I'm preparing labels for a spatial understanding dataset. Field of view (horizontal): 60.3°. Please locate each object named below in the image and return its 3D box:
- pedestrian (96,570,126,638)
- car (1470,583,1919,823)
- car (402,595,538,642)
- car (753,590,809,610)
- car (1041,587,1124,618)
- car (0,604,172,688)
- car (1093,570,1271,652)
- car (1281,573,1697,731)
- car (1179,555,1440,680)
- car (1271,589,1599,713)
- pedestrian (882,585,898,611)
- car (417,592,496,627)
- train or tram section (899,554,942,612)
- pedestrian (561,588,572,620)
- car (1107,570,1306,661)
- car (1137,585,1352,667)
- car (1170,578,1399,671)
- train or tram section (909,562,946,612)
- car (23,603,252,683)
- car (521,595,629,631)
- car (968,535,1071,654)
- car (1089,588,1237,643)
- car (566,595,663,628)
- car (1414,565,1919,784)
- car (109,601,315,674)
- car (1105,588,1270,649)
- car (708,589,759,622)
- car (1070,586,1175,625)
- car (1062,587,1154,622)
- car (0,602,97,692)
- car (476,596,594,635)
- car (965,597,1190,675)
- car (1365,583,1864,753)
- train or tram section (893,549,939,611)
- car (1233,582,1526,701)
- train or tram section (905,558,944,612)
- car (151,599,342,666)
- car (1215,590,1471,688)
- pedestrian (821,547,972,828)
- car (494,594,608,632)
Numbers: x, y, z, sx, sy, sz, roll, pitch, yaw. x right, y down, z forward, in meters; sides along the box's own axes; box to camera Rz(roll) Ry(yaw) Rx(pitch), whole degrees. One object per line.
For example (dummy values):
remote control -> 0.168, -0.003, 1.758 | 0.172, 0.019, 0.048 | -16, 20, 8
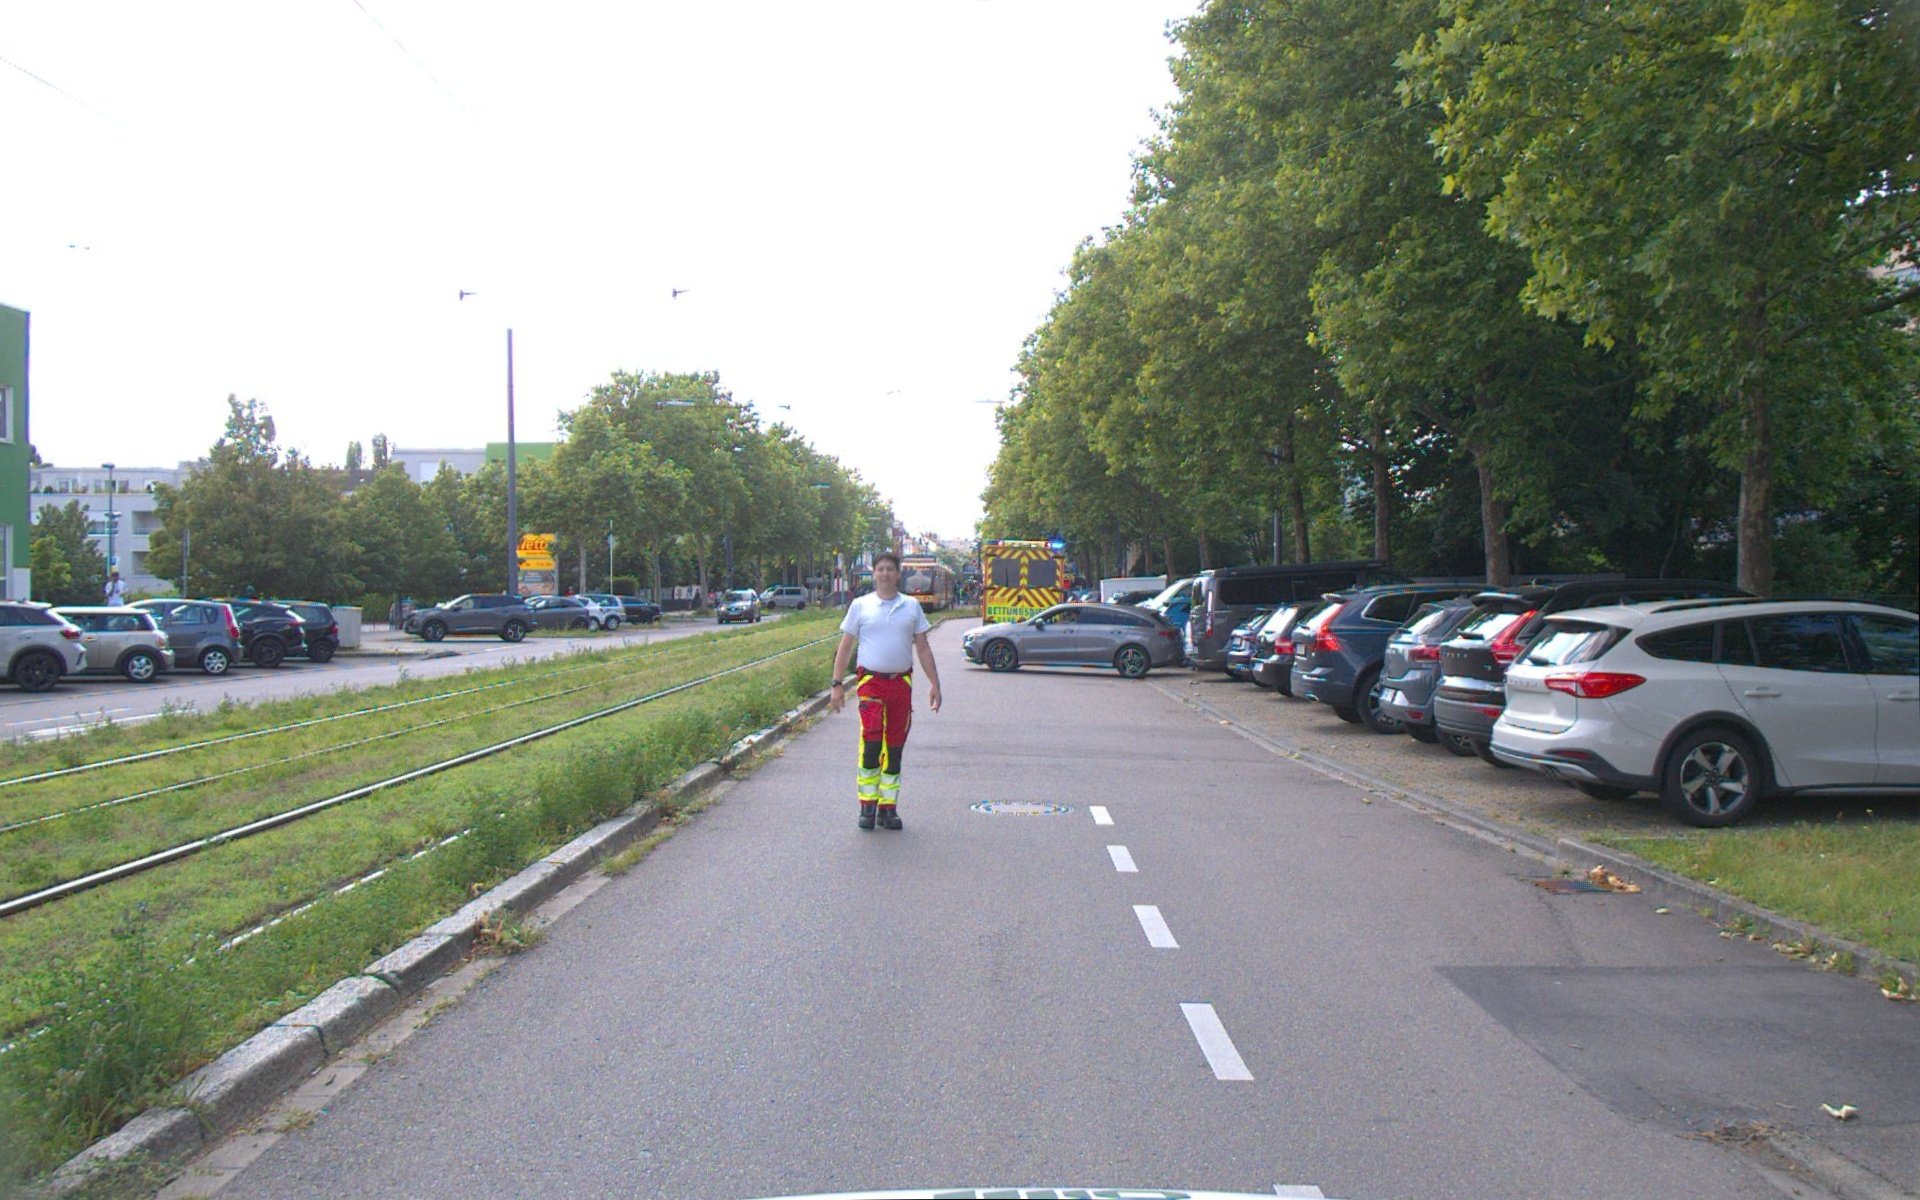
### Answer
pedestrian -> -23.443, 0.114, 45.681 | 0.535, 1.860, 0.509 | 0, 0, -1
car -> 6.238, 0.654, 11.871 | 4.565, 1.499, 1.847 | -1, 0, -3
car -> -16.357, 0.611, 55.206 | 4.165, 1.508, 1.869 | 1, 0, -24
car -> -15.611, 0.008, 144.028 | 4.581, 1.661, 1.858 | -1, 0, -38
car -> 6.859, 0.154, 92.788 | 4.455, 1.636, 1.855 | -1, 0, -3
car -> -17.417, 0.860, 31.603 | 4.174, 1.508, 1.866 | -1, 0, -29
car -> 5.936, 0.287, 44.515 | 4.455, 2.079, 1.855 | -1, 0, -3
car -> 6.039, 0.583, 19.280 | 4.289, 1.668, 1.757 | -1, 0, 3
car -> 6.440, 0.321, 30.843 | 4.452, 2.160, 1.856 | -1, 0, 0
car -> 6.296, 0.651, 22.226 | 3.884, 1.520, 1.756 | -1, 0, 0
pedestrian -> -4.176, -0.129, 98.565 | 0.862, 1.552, 0.751 | 1, -1, 0
car -> -27.089, 0.505, 89.032 | 3.916, 1.780, 1.995 | 2, 0, 33
train or tram section -> -2.601, -1.085, 110.630 | 2.460, 3.647, 7.445 | -2, -1, 1
pedestrian -> -21.177, 0.195, 88.989 | 0.456, 1.706, 0.603 | 0, 0, -1
car -> 5.901, 0.365, 39.919 | 4.455, 2.036, 1.855 | -1, 0, -3
car -> 6.374, 0.567, 37.374 | 4.455, 1.689, 1.854 | -1, 0, -4
car -> 6.769, 0.499, 34.833 | 4.452, 1.797, 1.856 | -1, 0, 0
train or tram section -> -2.407, -0.935, 125.513 | 2.460, 3.647, 7.445 | -2, -1, 1
car -> -17.183, 0.852, 34.654 | 4.174, 1.508, 1.866 | -1, 0, -29
car -> -16.569, 0.557, 71.280 | 4.186, 1.508, 1.860 | 1, 0, -35
car -> 1.696, -0.143, 46.615 | 2.586, 3.018, 6.301 | 3, 0, 2
car -> 6.496, 0.484, 53.137 | 4.455, 1.636, 1.855 | -1, 0, -3
car -> -16.582, 0.567, 79.488 | 4.193, 1.508, 1.857 | 1, 0, -39
car -> 6.426, 0.569, 14.102 | 4.565, 1.654, 1.847 | -1, 0, -3
car -> -17.051, 0.813, 37.730 | 4.174, 1.508, 1.866 | -1, 0, -29
car -> 6.550, 0.525, 47.977 | 4.455, 1.636, 1.855 | -1, 0, -3
car -> -11.603, 0.282, 84.971 | 1.953, 1.585, 4.370 | -2, 0, 0
car -> 7.311, 0.255, 74.689 | 4.455, 1.636, 1.855 | -1, 0, -3
car -> 7.545, 0.227, 84.539 | 4.455, 1.636, 1.855 | -1, 0, -3
car -> -17.392, 0.832, 28.661 | 4.183, 1.508, 1.862 | -1, 0, -34
car -> -16.788, 0.618, 65.386 | 4.186, 1.508, 1.860 | 1, 0, -35
car -> 2.423, 0.708, 33.716 | 4.358, 1.410, 1.768 | 2, 0, 11
car -> 6.410, 0.643, 16.569 | 4.289, 1.527, 1.757 | -1, 0, 3
train or tram section -> -2.686, -1.159, 103.198 | 2.460, 3.647, 7.445 | -2, -1, 1
car -> 6.279, 0.587, 24.949 | 3.893, 1.633, 1.752 | -1, 0, -10
train or tram section -> -2.507, -1.010, 118.075 | 2.460, 3.647, 7.445 | -2, -1, 1
car -> -17.552, 0.768, 40.709 | 4.174, 1.508, 1.866 | -1, 0, -29
car -> 6.367, 0.642, 27.808 | 3.884, 1.520, 1.756 | -1, 0, 0
pedestrian -> -0.423, 0.533, 10.626 | 0.790, 1.716, 0.847 | 0, 0, -16
car -> -16.867, 0.532, 68.259 | 4.186, 1.508, 1.860 | 1, 0, -35
